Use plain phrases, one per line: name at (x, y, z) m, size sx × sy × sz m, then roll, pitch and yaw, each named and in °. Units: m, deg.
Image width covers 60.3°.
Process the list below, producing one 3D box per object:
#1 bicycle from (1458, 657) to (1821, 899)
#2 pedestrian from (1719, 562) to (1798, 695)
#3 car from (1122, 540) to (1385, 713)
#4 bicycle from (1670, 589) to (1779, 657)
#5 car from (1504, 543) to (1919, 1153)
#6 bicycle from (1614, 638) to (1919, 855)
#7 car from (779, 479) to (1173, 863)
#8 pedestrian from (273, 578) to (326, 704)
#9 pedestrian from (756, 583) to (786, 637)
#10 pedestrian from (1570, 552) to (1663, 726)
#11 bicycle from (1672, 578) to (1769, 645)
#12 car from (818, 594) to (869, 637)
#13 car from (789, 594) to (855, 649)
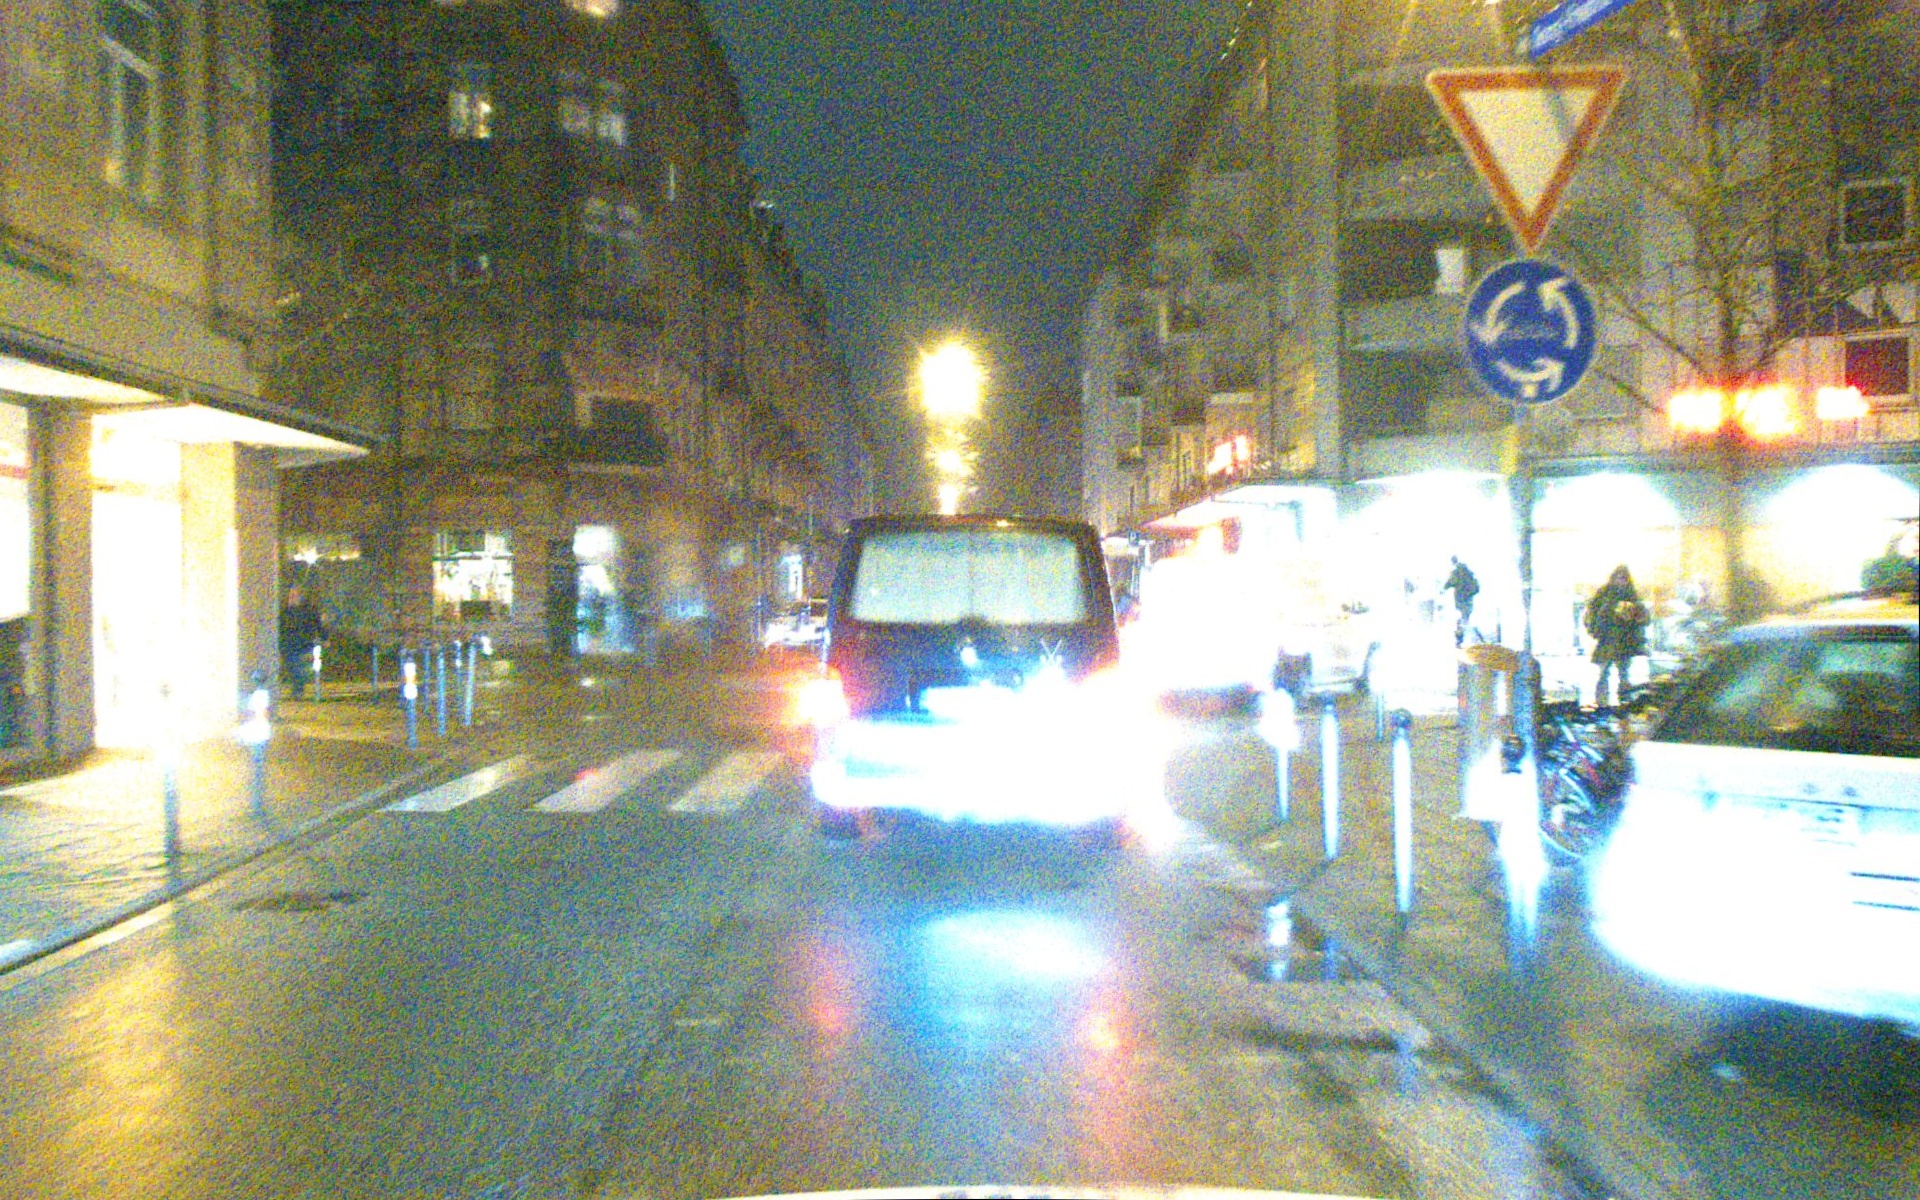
bicycle at (3.273, 0.820, 8.082) m, size 1.618 × 1.044 × 0.334 m, roll -1°, pitch 1°, yaw 44°
pedestrian at (11.499, 0.403, 23.809) m, size 0.861 × 1.865 × 0.980 m, roll -1°, pitch -1°, yaw 35°
car at (3.909, 0.286, 21.267) m, size 2.081 × 1.956 × 4.821 m, roll 0°, pitch 0°, yaw 26°
bicycle at (13.664, 0.409, 29.570) m, size 1.747 × 1.194 × 0.384 m, roll 0°, pitch 0°, yaw 28°
car at (4.092, 0.575, 5.801) m, size 4.203 × 1.601 × 1.755 m, roll -3°, pitch 0°, yaw -29°
bicycle at (4.286, 0.760, 8.777) m, size 0.331 × 1.044 × 1.629 m, roll 0°, pitch -4°, yaw -29°
car at (0.077, 0.374, 11.058) m, size 2.079 × 2.026 × 4.600 m, roll 0°, pitch 0°, yaw 0°
pedestrian at (-10.419, 0.646, 26.083) m, size 0.645 × 1.942 × 0.622 m, roll 2°, pitch -1°, yaw -29°
pedestrian at (-6.451, 0.342, 56.632) m, size 0.787 × 1.797 × 1.016 m, roll 1°, pitch -1°, yaw 5°
pedestrian at (6.927, 0.399, 17.482) m, size 0.808 × 1.802 × 0.600 m, roll 0°, pitch 0°, yaw 12°
bicycle at (14.082, 0.206, 30.630) m, size 1.610 × 1.195 × 0.383 m, roll 1°, pitch -2°, yaw 28°
car at (-4.050, 0.515, 57.815) m, size 1.554 × 1.474 × 3.503 m, roll 0°, pitch 0°, yaw 0°
car at (-4.042, 0.609, 48.850) m, size 1.554 × 1.489 × 4.024 m, roll 2°, pitch 0°, yaw 0°
